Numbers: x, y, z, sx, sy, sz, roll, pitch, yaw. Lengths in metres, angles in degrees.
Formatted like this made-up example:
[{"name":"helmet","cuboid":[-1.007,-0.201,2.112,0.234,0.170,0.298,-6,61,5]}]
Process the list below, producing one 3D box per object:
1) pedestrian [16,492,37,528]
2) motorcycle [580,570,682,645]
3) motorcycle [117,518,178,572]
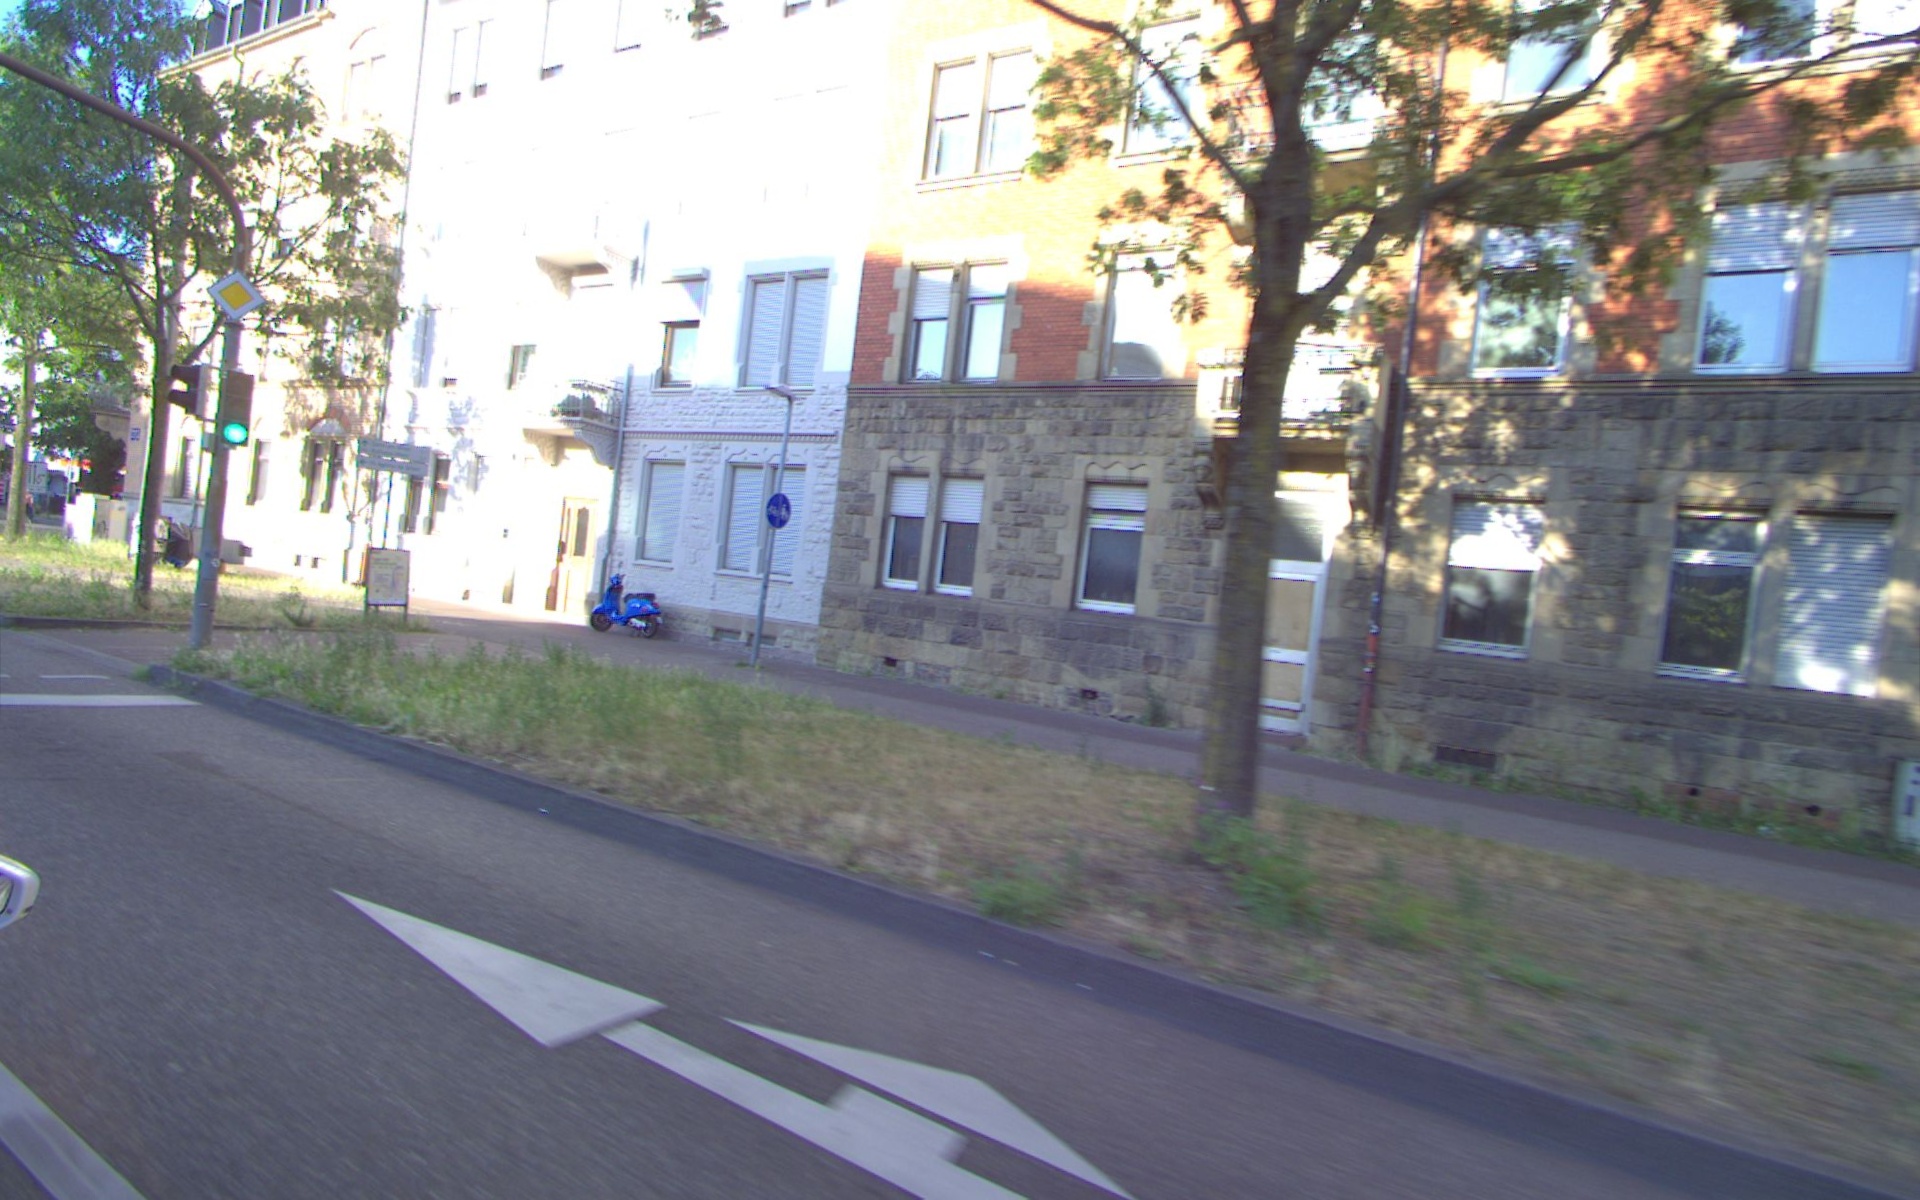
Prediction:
[{"name":"pedestrian","cuboid":[-45.156,-4.367,48.667,0.690,1.649,0.551,7,1,40]},{"name":"motorcycle","cuboid":[-6.504,0.139,19.861,2.037,1.228,0.555,6,-1,30]},{"name":"motorcycle","cuboid":[-18.246,-1.246,22.578,1.718,1.057,0.604,7,0,38]}]
